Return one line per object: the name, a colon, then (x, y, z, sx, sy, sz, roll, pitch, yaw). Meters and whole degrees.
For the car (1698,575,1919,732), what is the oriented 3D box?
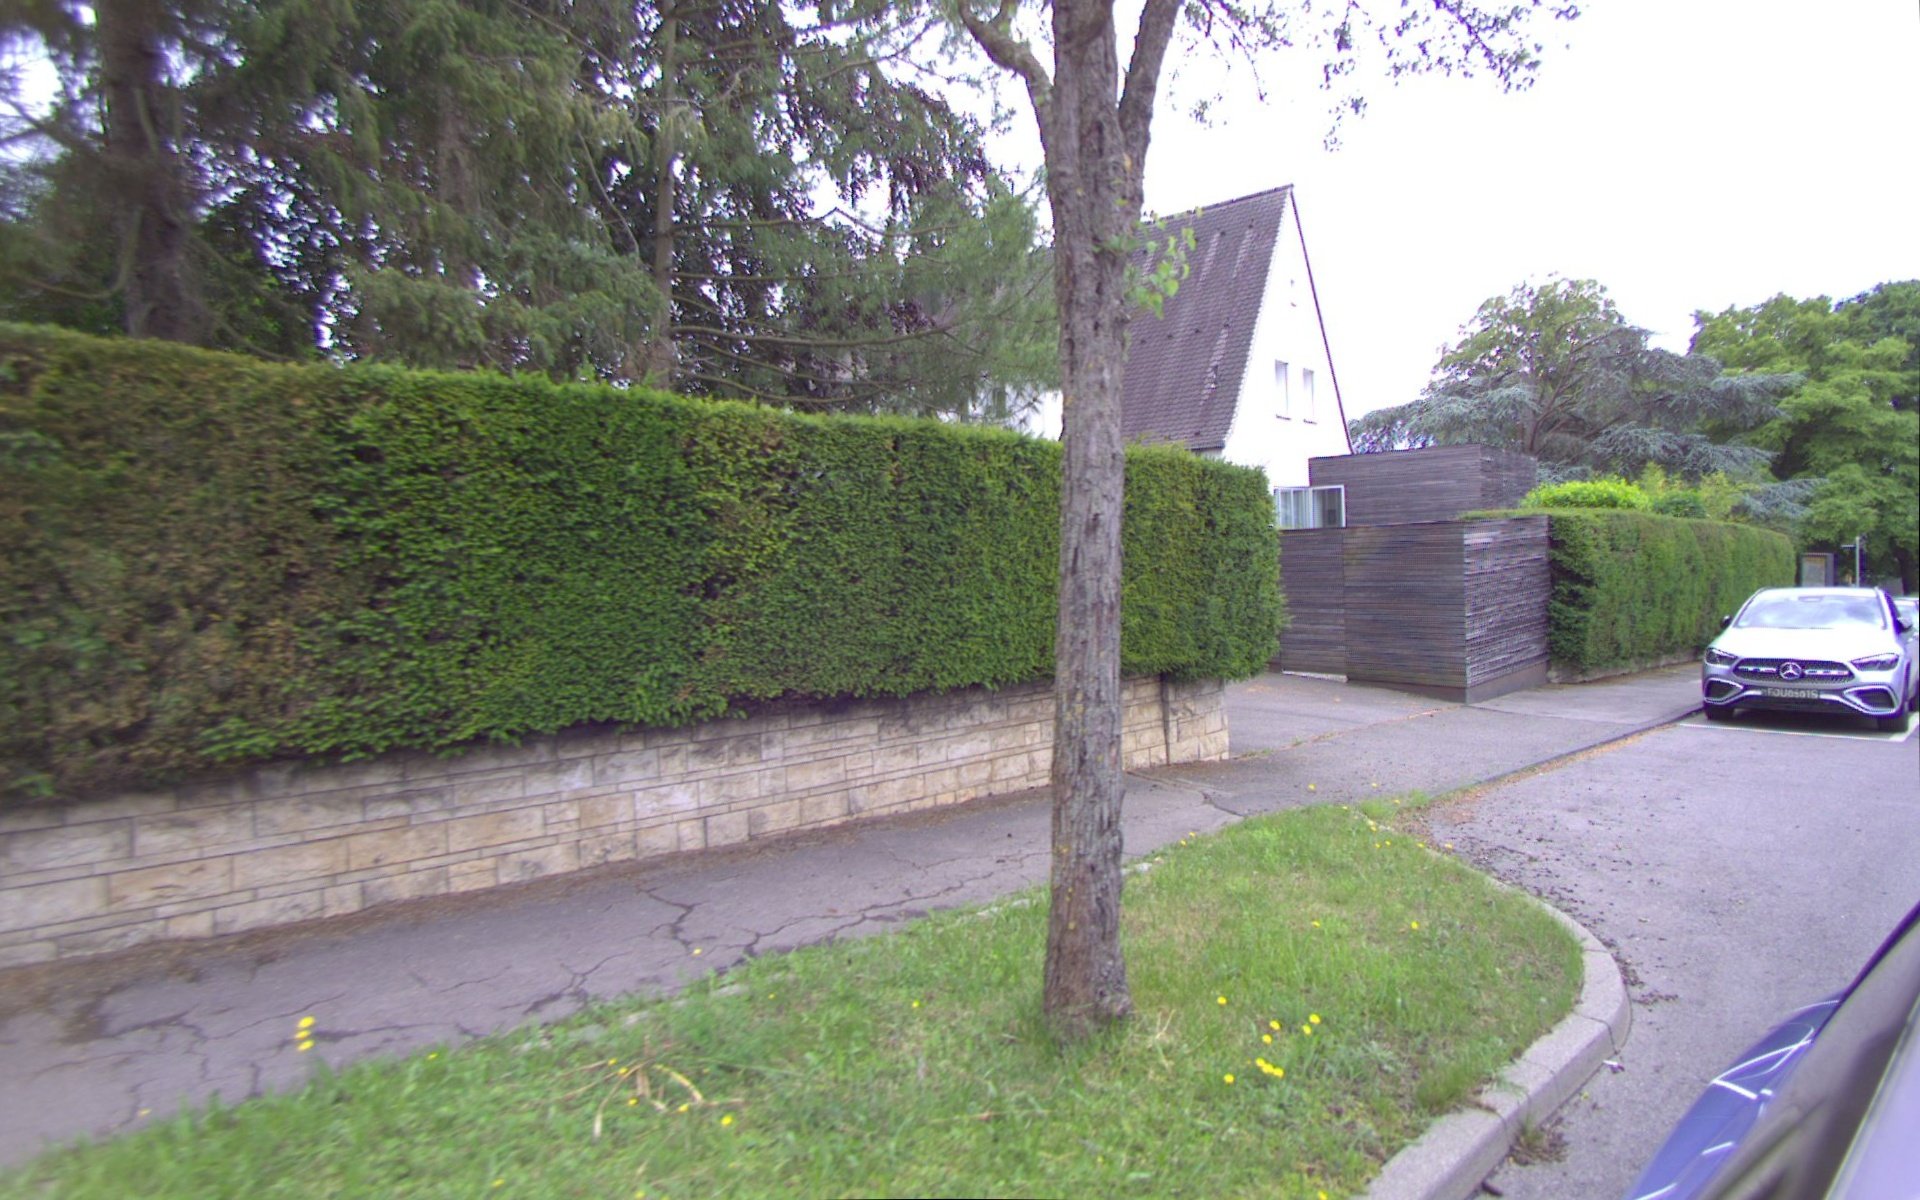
car: (10.667, 0.515, 12.462, 4.103, 1.602, 1.856, -1, 0, -44)

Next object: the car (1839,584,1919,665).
car: (19.097, 0.440, 20.290, 3.934, 1.482, 1.856, -1, 0, -44)

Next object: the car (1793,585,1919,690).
car: (14.857, 0.517, 16.220, 4.103, 1.482, 1.856, -1, 1, -44)
